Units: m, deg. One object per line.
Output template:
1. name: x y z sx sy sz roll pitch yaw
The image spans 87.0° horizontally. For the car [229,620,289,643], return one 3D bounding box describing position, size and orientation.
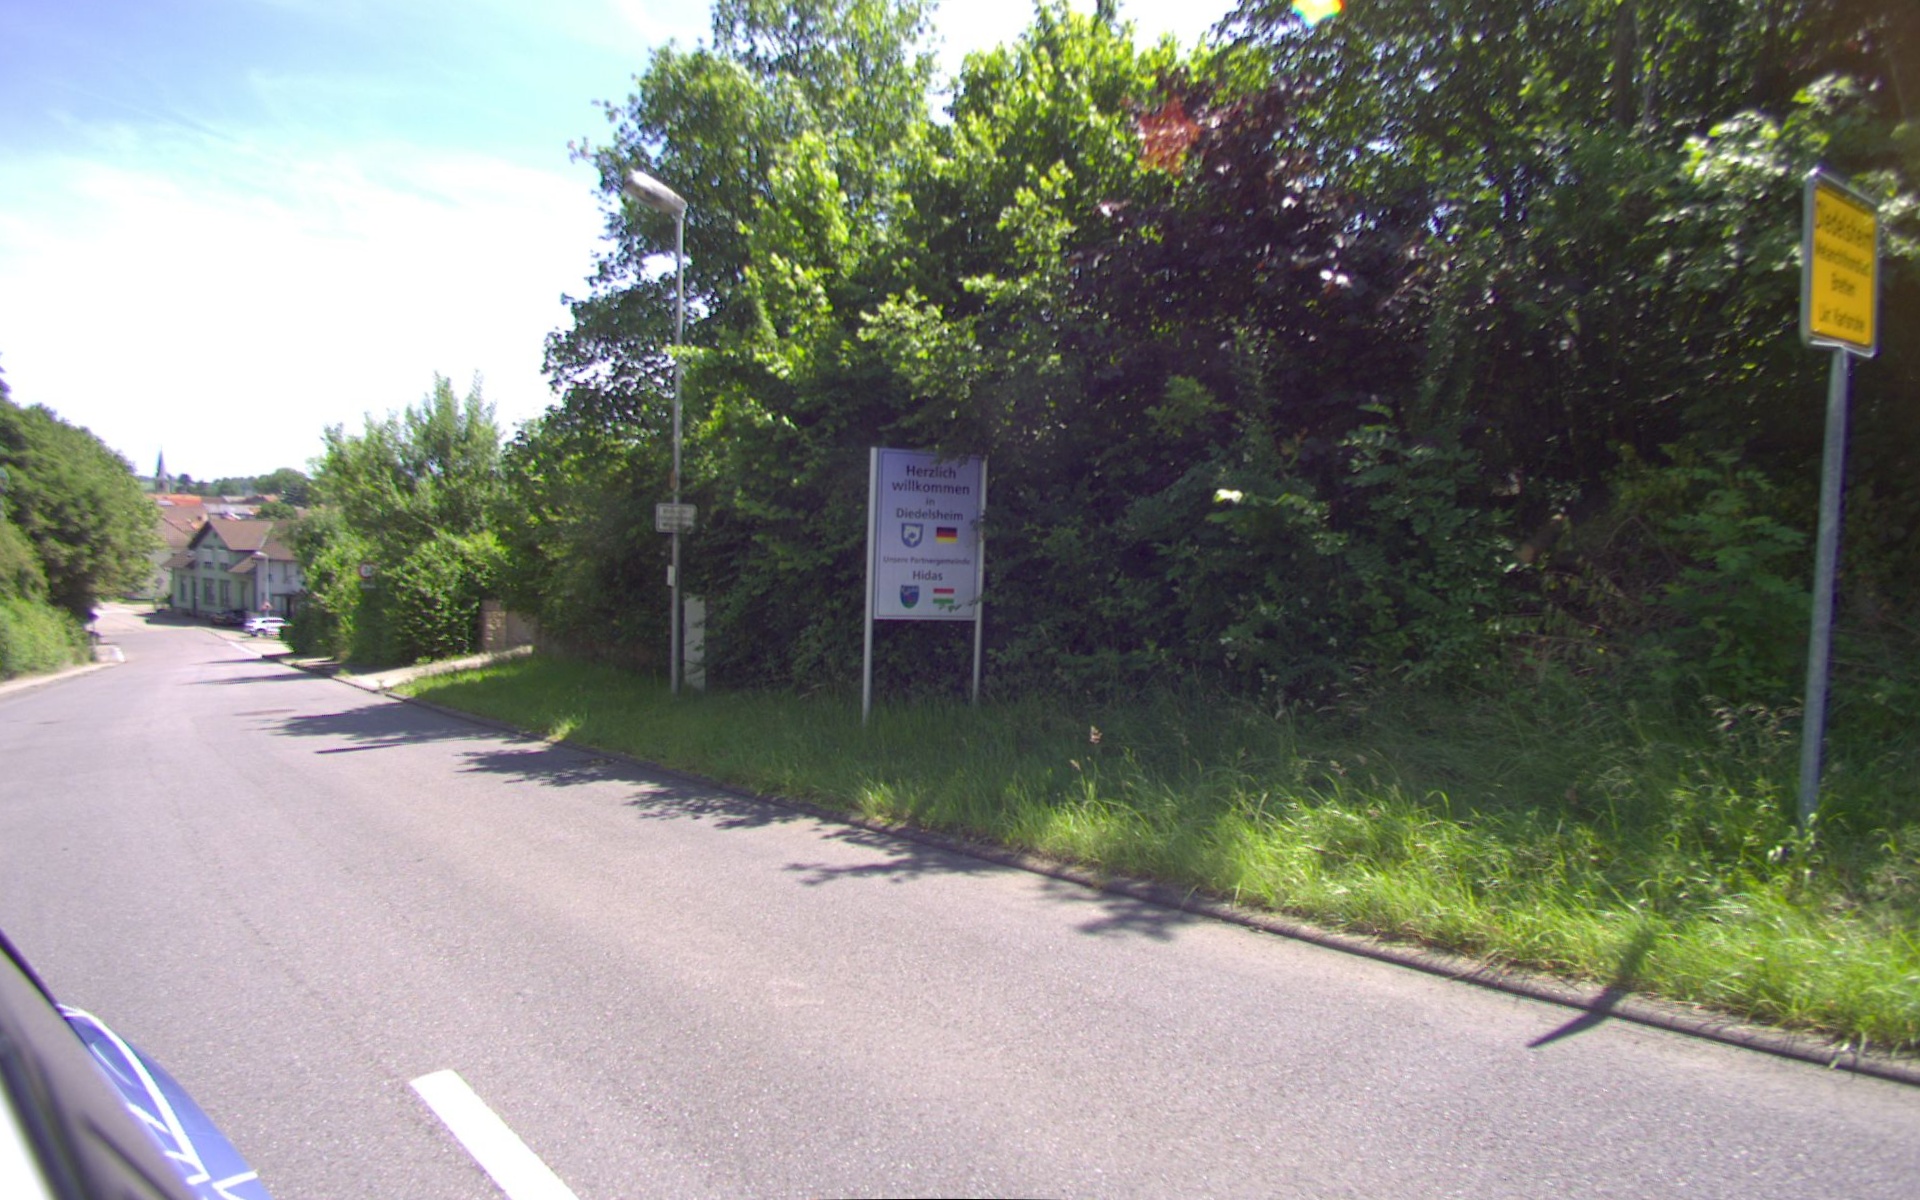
1. car: -55.519 2.486 80.190 1.515 1.395 3.535 0 5 40
